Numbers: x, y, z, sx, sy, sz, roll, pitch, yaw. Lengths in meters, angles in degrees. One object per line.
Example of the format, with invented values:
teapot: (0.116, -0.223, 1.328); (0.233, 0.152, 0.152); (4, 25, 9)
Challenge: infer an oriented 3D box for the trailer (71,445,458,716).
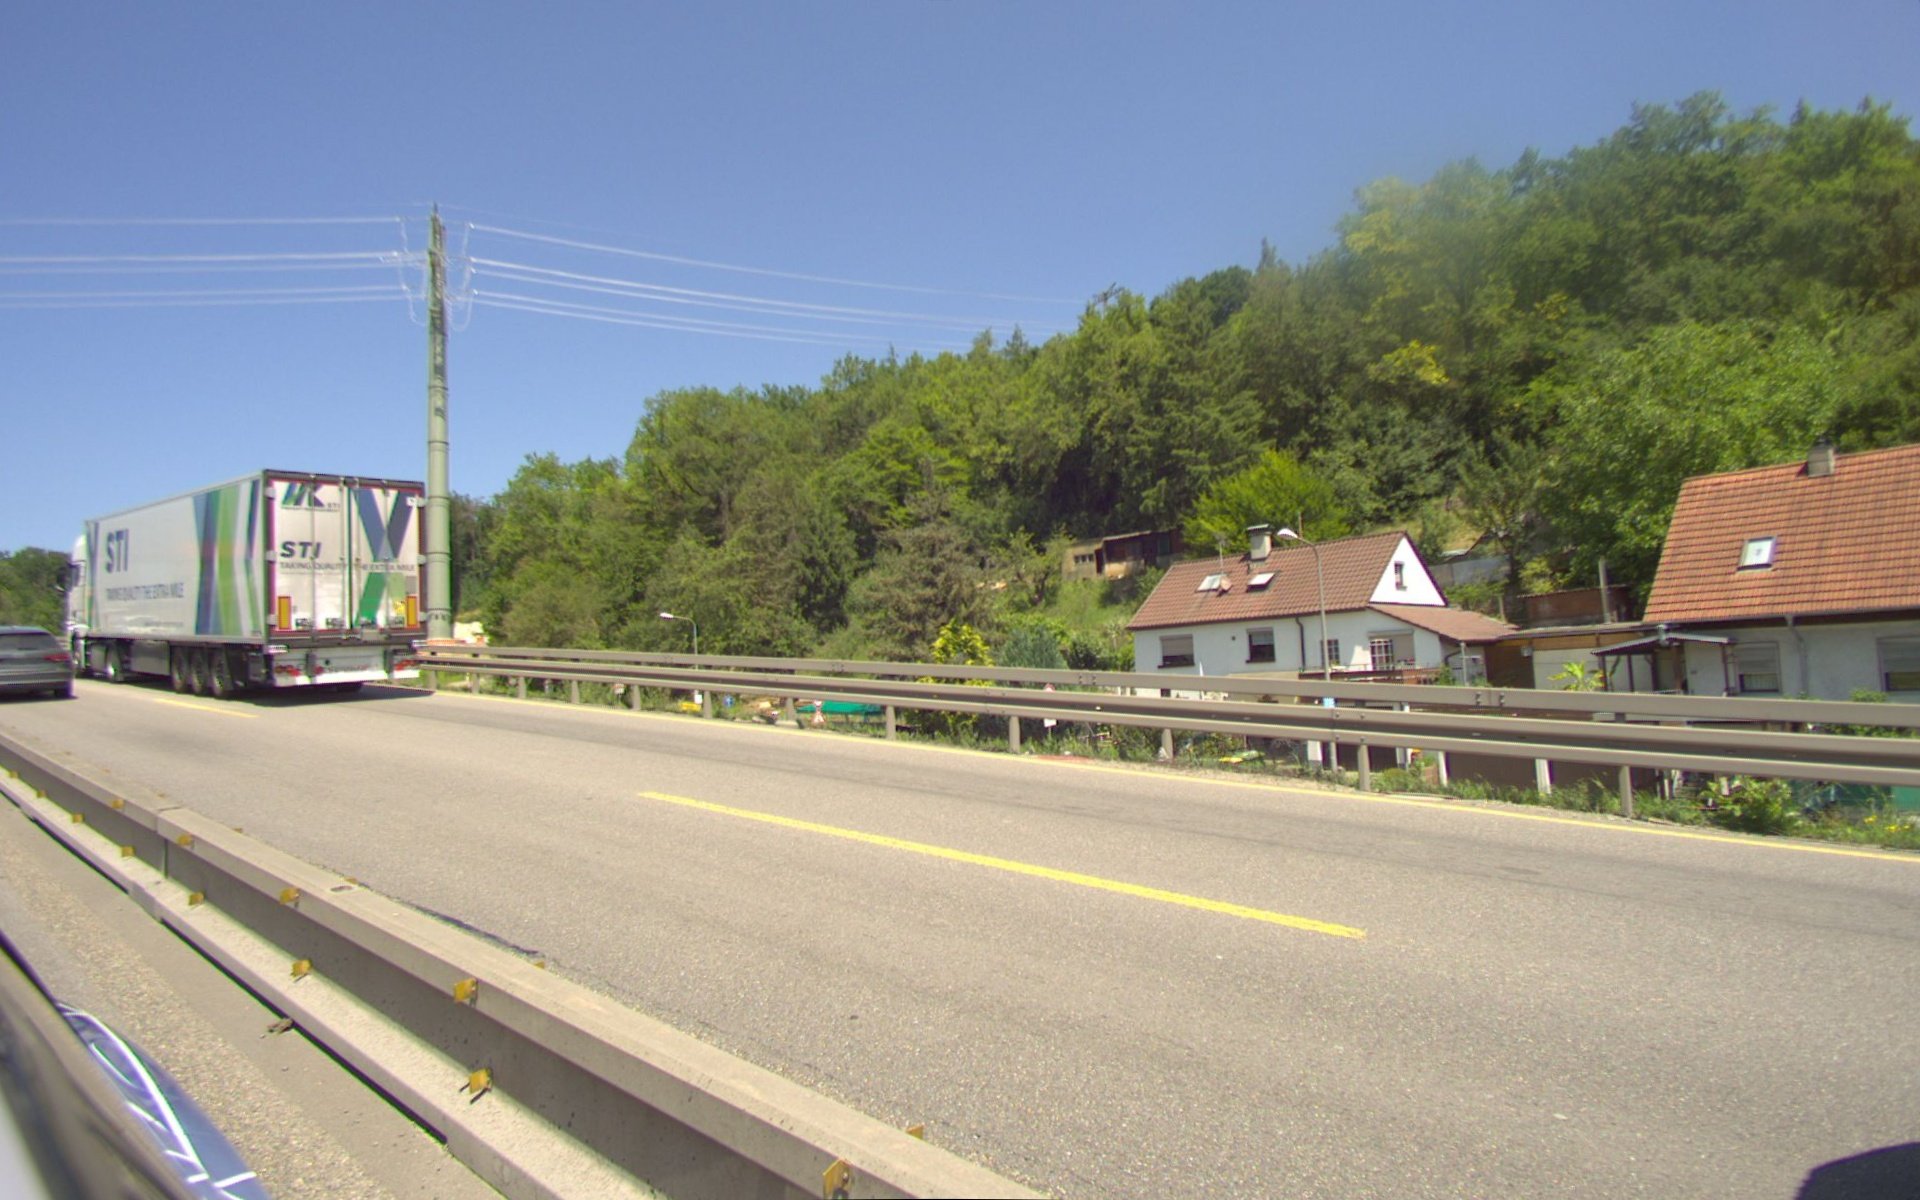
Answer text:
trailer: (-15.866, -0.284, 22.191); (14.044, 4.411, 3.220); (-1, 0, 39)

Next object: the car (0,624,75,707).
car: (-19.136, 1.231, 20.045); (4.632, 1.464, 1.772); (-1, -1, 41)

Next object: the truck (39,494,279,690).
truck: (-21.279, -0.165, 26.679); (8.293, 4.395, 3.271); (-1, 0, 40)
